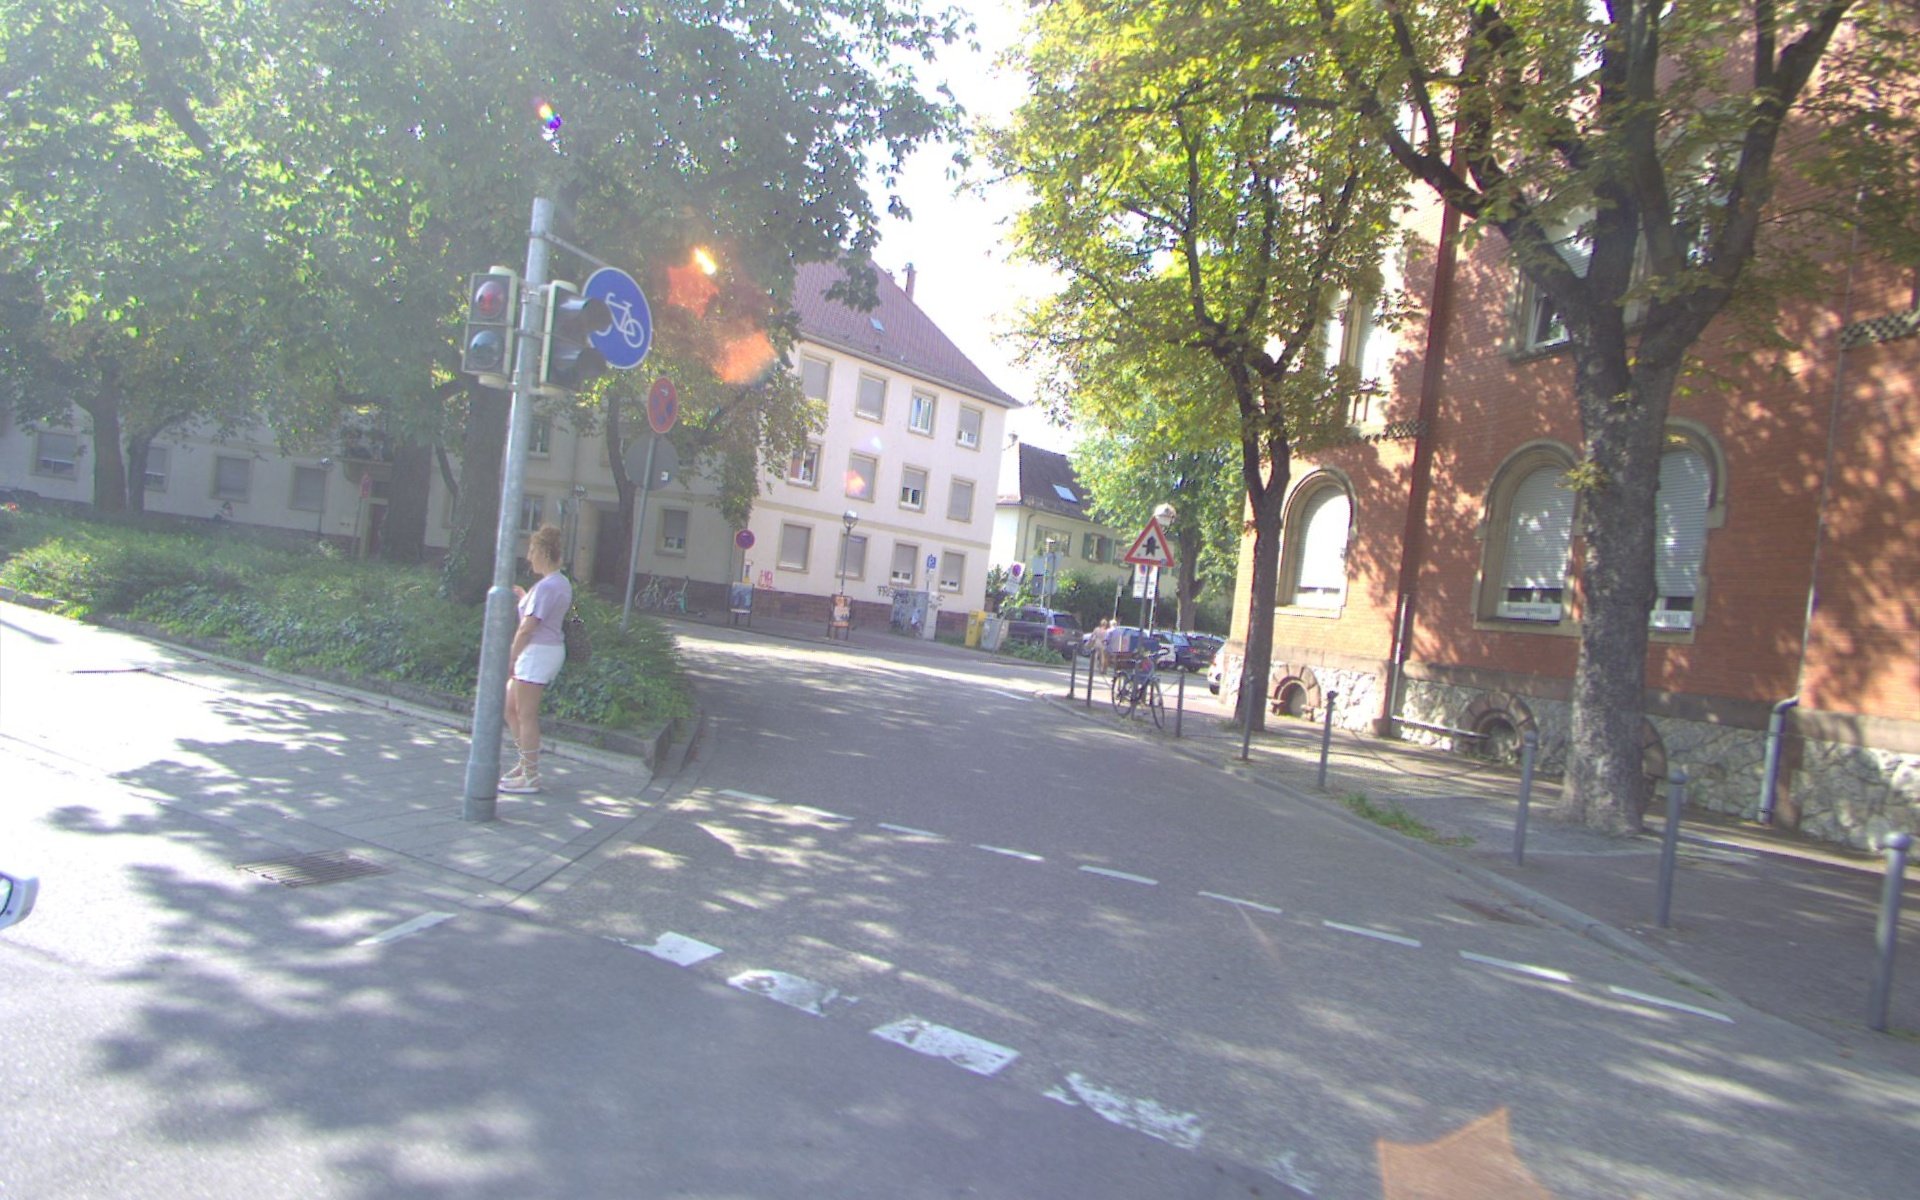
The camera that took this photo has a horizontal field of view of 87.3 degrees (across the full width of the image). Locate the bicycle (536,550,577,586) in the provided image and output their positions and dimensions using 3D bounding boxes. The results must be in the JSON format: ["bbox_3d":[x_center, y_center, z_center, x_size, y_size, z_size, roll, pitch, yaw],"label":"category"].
[{"bbox_3d":[-14.084,-1.117,35.099,1.462,1.073,0.416,7,1,28],"label":"bicycle"}]

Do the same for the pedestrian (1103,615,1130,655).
[{"bbox_3d":[7.580,1.687,48.614,0.759,1.782,0.854,7,1,43],"label":"pedestrian"}]

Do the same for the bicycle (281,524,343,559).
[{"bbox_3d":[-23.906,-2.144,37.125,1.873,1.019,0.534,7,1,4],"label":"bicycle"}]

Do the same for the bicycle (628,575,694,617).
[{"bbox_3d":[-9.363,-0.116,31.530,1.825,1.071,0.602,7,0,-40],"label":"bicycle"}]

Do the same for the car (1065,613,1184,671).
[{"bbox_3d":[6.360,1.626,39.138,4.133,1.481,1.656,11,3,40],"label":"car"}]

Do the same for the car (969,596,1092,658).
[{"bbox_3d":[2.438,0.924,35.673,1.653,1.658,4.141,7,0,-45],"label":"car"}]

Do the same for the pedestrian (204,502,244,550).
[{"bbox_3d":[-28.129,-2.827,38.449,0.850,1.692,0.687,7,1,-3],"label":"pedestrian"}]

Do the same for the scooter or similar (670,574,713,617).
[{"bbox_3d":[-8.310,-0.132,31.179,1.101,1.172,0.438,7,1,-31],"label":"scooter or similar"}]

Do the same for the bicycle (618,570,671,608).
[{"bbox_3d":[-10.173,-0.336,32.503,0.597,1.071,1.870,7,0,15],"label":"bicycle"}]

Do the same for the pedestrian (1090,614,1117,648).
[{"bbox_3d":[7.012,1.519,49.106,0.760,1.566,0.854,7,1,43],"label":"pedestrian"}]

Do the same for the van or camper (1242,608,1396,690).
[{"bbox_3d":[18.314,2.433,51.665,6.849,2.916,1.991,11,1,44],"label":"van or camper"}]

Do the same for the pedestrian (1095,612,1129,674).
[{"bbox_3d":[4.573,1.298,30.330,0.597,1.786,0.653,7,1,-14],"label":"pedestrian"}]

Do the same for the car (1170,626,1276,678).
[{"bbox_3d":[11.339,2.253,43.523,3.962,1.481,1.656,11,3,40],"label":"car"}]

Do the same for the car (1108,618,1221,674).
[{"bbox_3d":[8.187,1.841,40.448,3.962,1.481,1.656,11,3,40],"label":"car"}]

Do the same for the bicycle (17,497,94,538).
[{"bbox_3d":[-30.646,-2.788,34.100,1.809,1.071,0.607,9,0,-8],"label":"bicycle"}]

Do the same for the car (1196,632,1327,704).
[{"bbox_3d":[8.328,1.892,27.589,3.976,1.586,1.601,8,0,-44],"label":"car"}]

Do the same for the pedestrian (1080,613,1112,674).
[{"bbox_3d":[4.220,1.340,31.167,0.598,1.786,0.589,6,1,-16],"label":"pedestrian"}]

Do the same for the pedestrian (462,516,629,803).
[{"bbox_3d":[-2.698,0.376,6.578,0.535,1.739,0.660,7,1,31],"label":"pedestrian"}]

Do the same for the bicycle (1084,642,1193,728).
[{"bbox_3d":[2.705,1.278,15.489,0.601,1.070,1.829,10,-2,-24],"label":"bicycle"}]

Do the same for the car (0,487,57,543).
[{"bbox_3d":[-29.025,-2.657,29.141,3.825,1.470,1.747,8,1,-10],"label":"car"}]
